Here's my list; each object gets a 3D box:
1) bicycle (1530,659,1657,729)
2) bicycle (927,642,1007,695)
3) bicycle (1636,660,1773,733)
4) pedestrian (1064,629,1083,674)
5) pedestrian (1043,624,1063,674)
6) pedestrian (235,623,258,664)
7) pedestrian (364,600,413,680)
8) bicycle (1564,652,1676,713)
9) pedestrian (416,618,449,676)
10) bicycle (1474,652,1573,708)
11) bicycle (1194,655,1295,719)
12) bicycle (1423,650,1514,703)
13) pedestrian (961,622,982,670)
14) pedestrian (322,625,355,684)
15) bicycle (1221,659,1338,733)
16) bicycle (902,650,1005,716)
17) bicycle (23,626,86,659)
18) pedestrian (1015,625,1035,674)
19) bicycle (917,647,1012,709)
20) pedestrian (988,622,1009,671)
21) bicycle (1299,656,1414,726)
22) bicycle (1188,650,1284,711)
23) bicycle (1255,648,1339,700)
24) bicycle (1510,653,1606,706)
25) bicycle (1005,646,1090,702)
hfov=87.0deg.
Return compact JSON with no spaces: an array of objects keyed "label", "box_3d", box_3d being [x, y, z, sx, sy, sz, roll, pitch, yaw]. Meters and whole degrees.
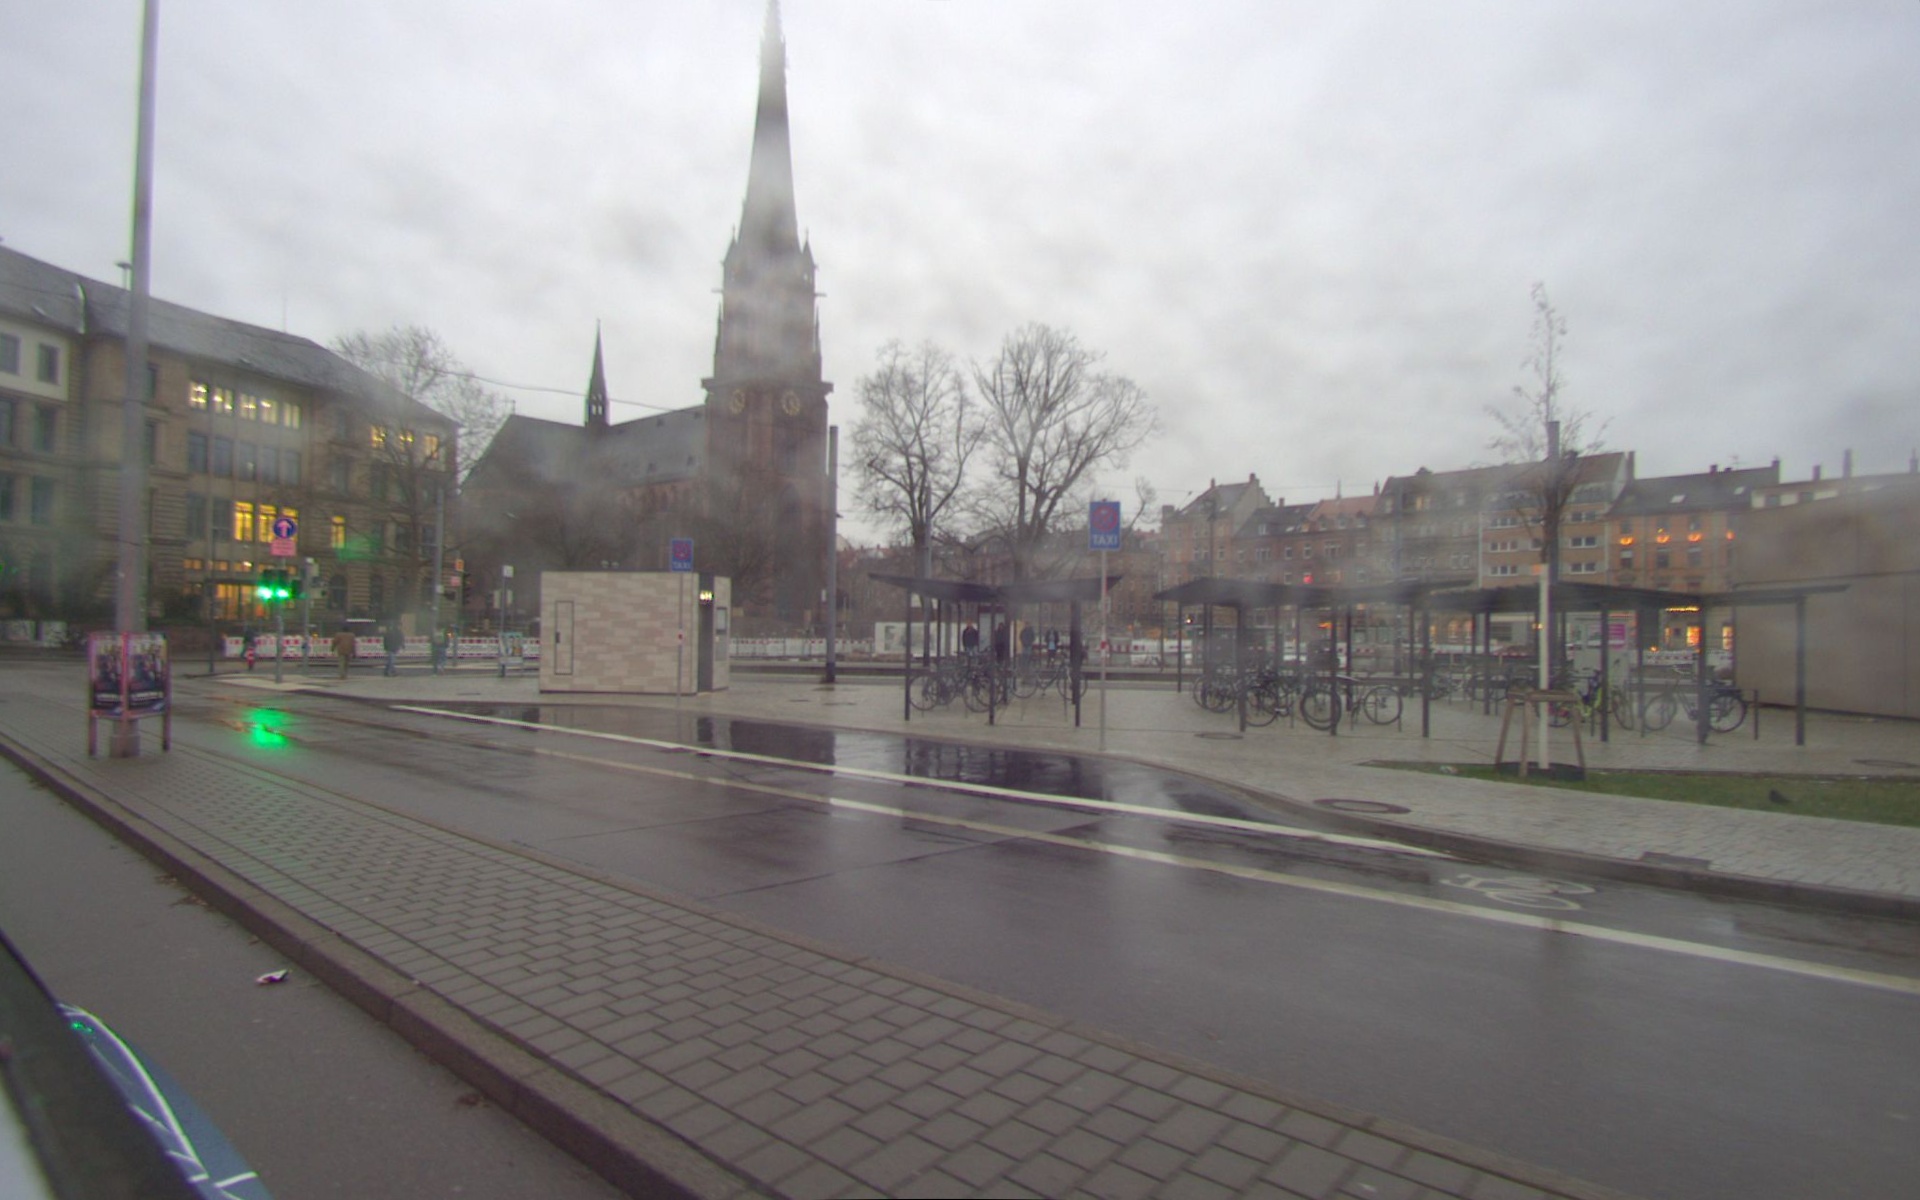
[{"label":"bicycle","box_3d":[11.559,1.705,18.515,1.879,1.174,0.548,1,0,12]},{"label":"bicycle","box_3d":[0.174,1.643,24.490,1.879,1.174,0.548,1,0,12]},{"label":"bicycle","box_3d":[12.989,1.679,17.695,1.877,1.174,0.549,1,0,8]},{"label":"pedestrian","box_3d":[4.252,1.923,37.935,0.709,1.630,0.713,1,-1,7]},{"label":"pedestrian","box_3d":[3.490,1.834,37.997,0.709,1.820,0.713,1,-1,7]},{"label":"pedestrian","box_3d":[-36.189,2.195,51.321,0.730,2.029,0.647,1,0,-11]},{"label":"pedestrian","box_3d":[-17.672,1.209,31.303,1.062,2.388,0.984,1,0,37]},{"label":"bicycle","box_3d":[13.817,1.721,21.231,1.879,1.174,0.548,1,0,12]},{"label":"pedestrian","box_3d":[-17.352,1.535,33.279,0.824,1.827,0.597,-1,1,37]},{"label":"bicycle","box_3d":[12.855,1.812,23.141,1.879,1.174,0.548,1,0,12]},{"label":"bicycle","box_3d":[5.687,1.725,20.309,1.879,1.174,0.548,1,0,12]},{"label":"bicycle","box_3d":[12.302,1.847,24.515,1.879,1.174,0.548,1,0,12]},{"label":"pedestrian","box_3d":[0.425,1.714,38.242,0.709,1.770,0.713,1,-1,7]},{"label":"pedestrian","box_3d":[-18.313,1.603,29.838,0.663,1.687,0.732,1,0,-17]},{"label":"bicycle","box_3d":[5.564,1.659,17.727,1.879,1.174,0.548,1,0,12]},{"label":"bicycle","box_3d":[-0.117,1.586,19.601,1.922,1.174,0.548,1,0,12]},{"label":"bicycle","box_3d":[-47.914,2.244,53.592,2.388,1.701,0.715,0,0,-33]},{"label":"pedestrian","box_3d":[2.447,1.846,37.917,0.709,1.820,0.713,1,-1,7]},{"label":"bicycle","box_3d":[0.088,1.593,20.809,1.879,1.174,0.548,1,0,12]},{"label":"pedestrian","box_3d":[1.461,1.730,38.033,0.709,1.820,0.713,1,-1,7]},{"label":"bicycle","box_3d":[7.252,1.661,18.569,1.879,1.174,0.548,1,0,12]},{"label":"bicycle","box_3d":[5.736,1.664,21.125,1.879,1.174,0.548,1,0,12]},{"label":"bicycle","box_3d":[8.200,1.801,24.705,1.879,1.174,0.548,1,0,12]},{"label":"bicycle","box_3d":[14.209,1.882,24.077,1.879,1.174,0.548,1,0,12]},{"label":"bicycle","box_3d":[1.999,1.681,23.092,1.879,1.174,0.548,1,0,12]}]
